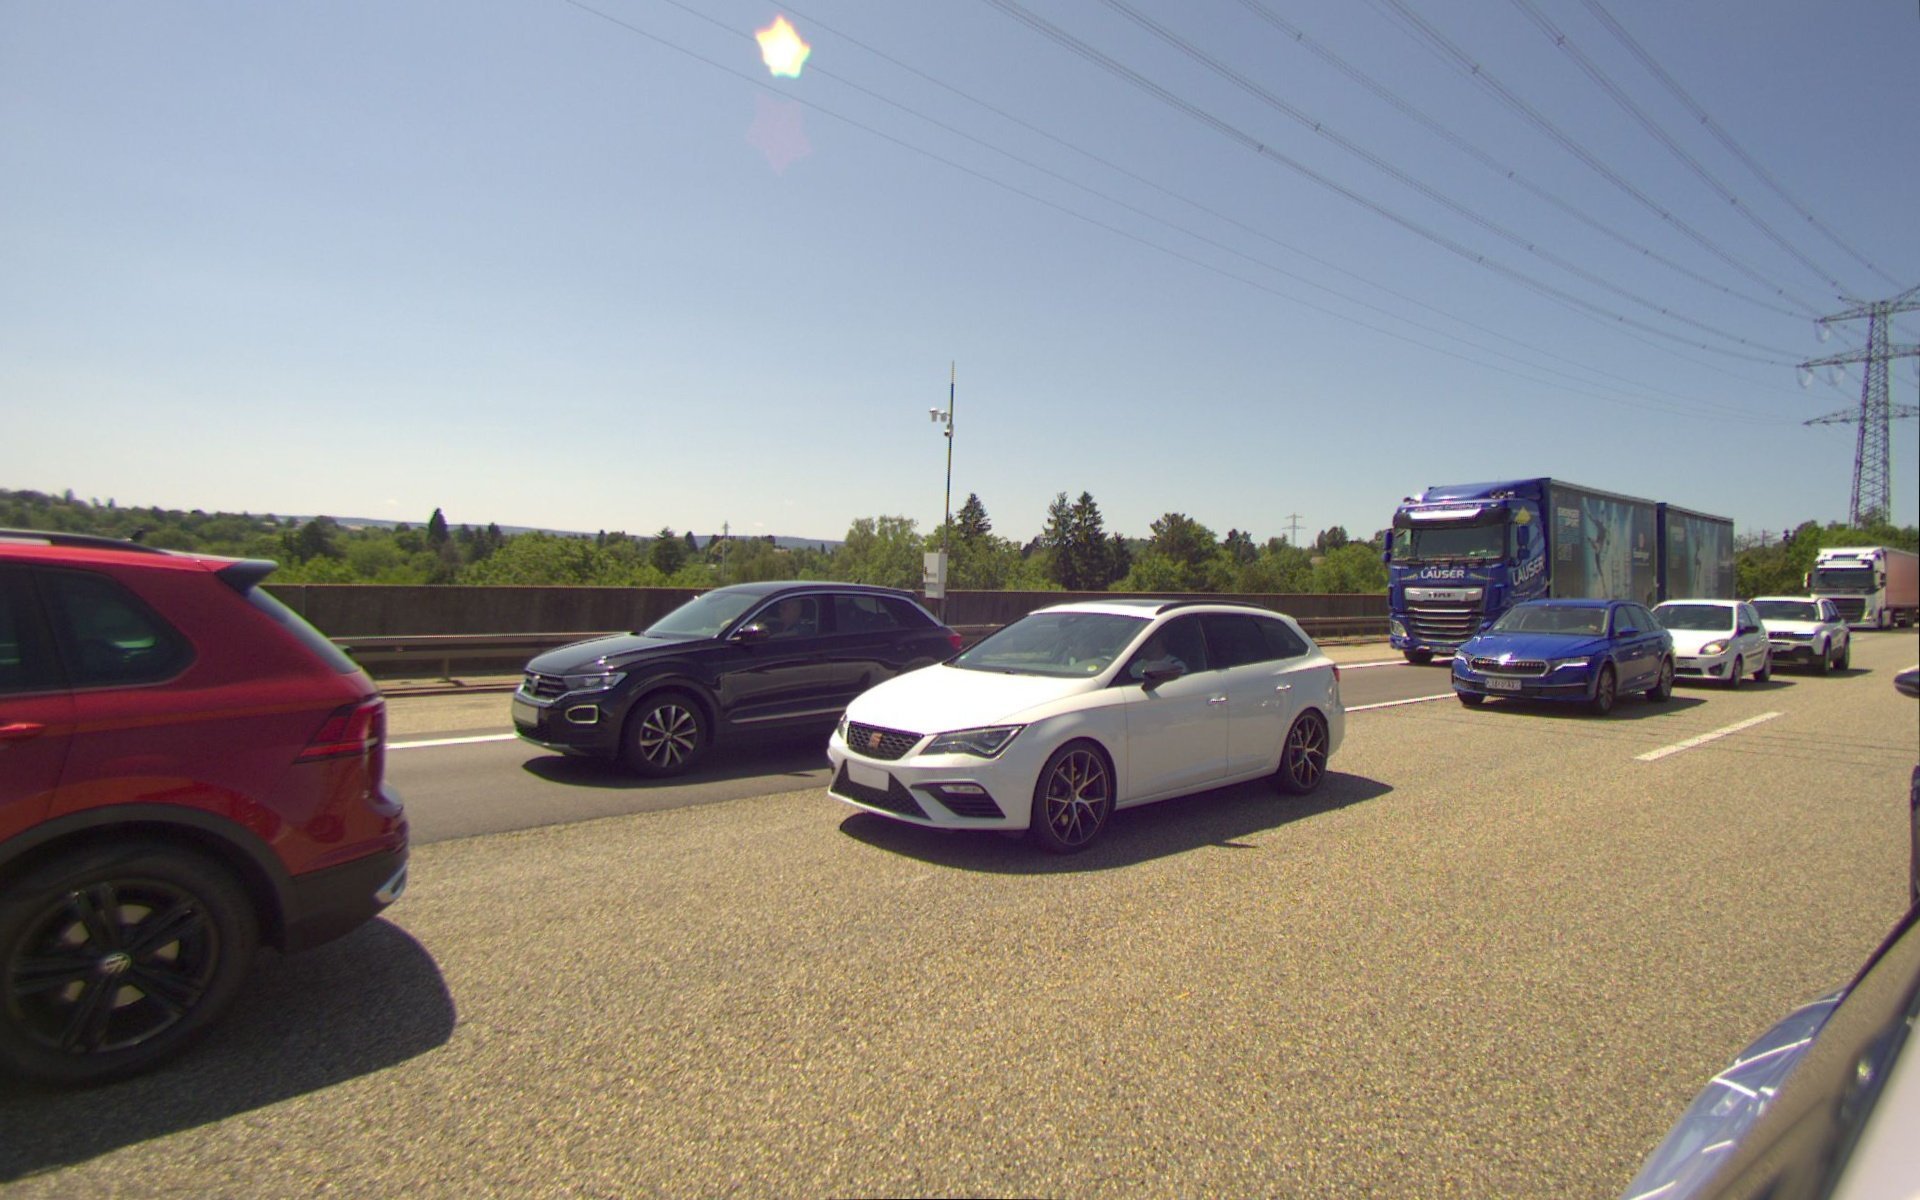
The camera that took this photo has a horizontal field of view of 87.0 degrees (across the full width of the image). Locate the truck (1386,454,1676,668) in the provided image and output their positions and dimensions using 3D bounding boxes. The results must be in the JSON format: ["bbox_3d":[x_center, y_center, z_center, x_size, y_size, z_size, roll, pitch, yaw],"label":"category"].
[{"bbox_3d":[13.755,-0.803,23.768,10.262,4.117,2.528,0,1,-40],"label":"truck"}]

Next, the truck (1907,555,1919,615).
[{"bbox_3d":[68.994,-1.043,71.348,8.133,4.133,2.345,0,0,-41],"label":"truck"}]

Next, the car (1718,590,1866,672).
[{"bbox_3d":[17.339,0.571,21.030,4.024,1.522,1.761,0,1,-42],"label":"car"}]

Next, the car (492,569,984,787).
[{"bbox_3d":[-1.854,0.538,9.170,4.034,1.546,1.739,0,0,-41],"label":"car"}]

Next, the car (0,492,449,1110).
[{"bbox_3d":[-3.905,0.535,2.795,4.151,1.683,1.778,0,1,-41],"label":"car"}]

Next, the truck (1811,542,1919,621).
[{"bbox_3d":[45.733,-0.868,50.829,10.776,3.604,2.983,0,0,-41],"label":"truck"}]

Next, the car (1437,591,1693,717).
[{"bbox_3d":[8.380,0.629,13.884,4.135,1.463,1.739,0,1,-40],"label":"car"}]

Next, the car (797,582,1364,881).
[{"bbox_3d":[1.037,0.651,7.158,4.003,1.508,1.841,0,0,-42],"label":"car"}]

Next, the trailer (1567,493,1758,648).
[{"bbox_3d":[20.858,-0.811,29.817,8.329,3.994,2.571,0,1,-40],"label":"trailer"}]

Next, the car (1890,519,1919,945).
[{"bbox_3d":[5.776,0.511,4.703,3.931,1.683,1.738,0,0,-41],"label":"car"}]

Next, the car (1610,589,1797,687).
[{"bbox_3d":[13.259,0.593,17.969,4.021,1.522,1.762,0,1,-40],"label":"car"}]
